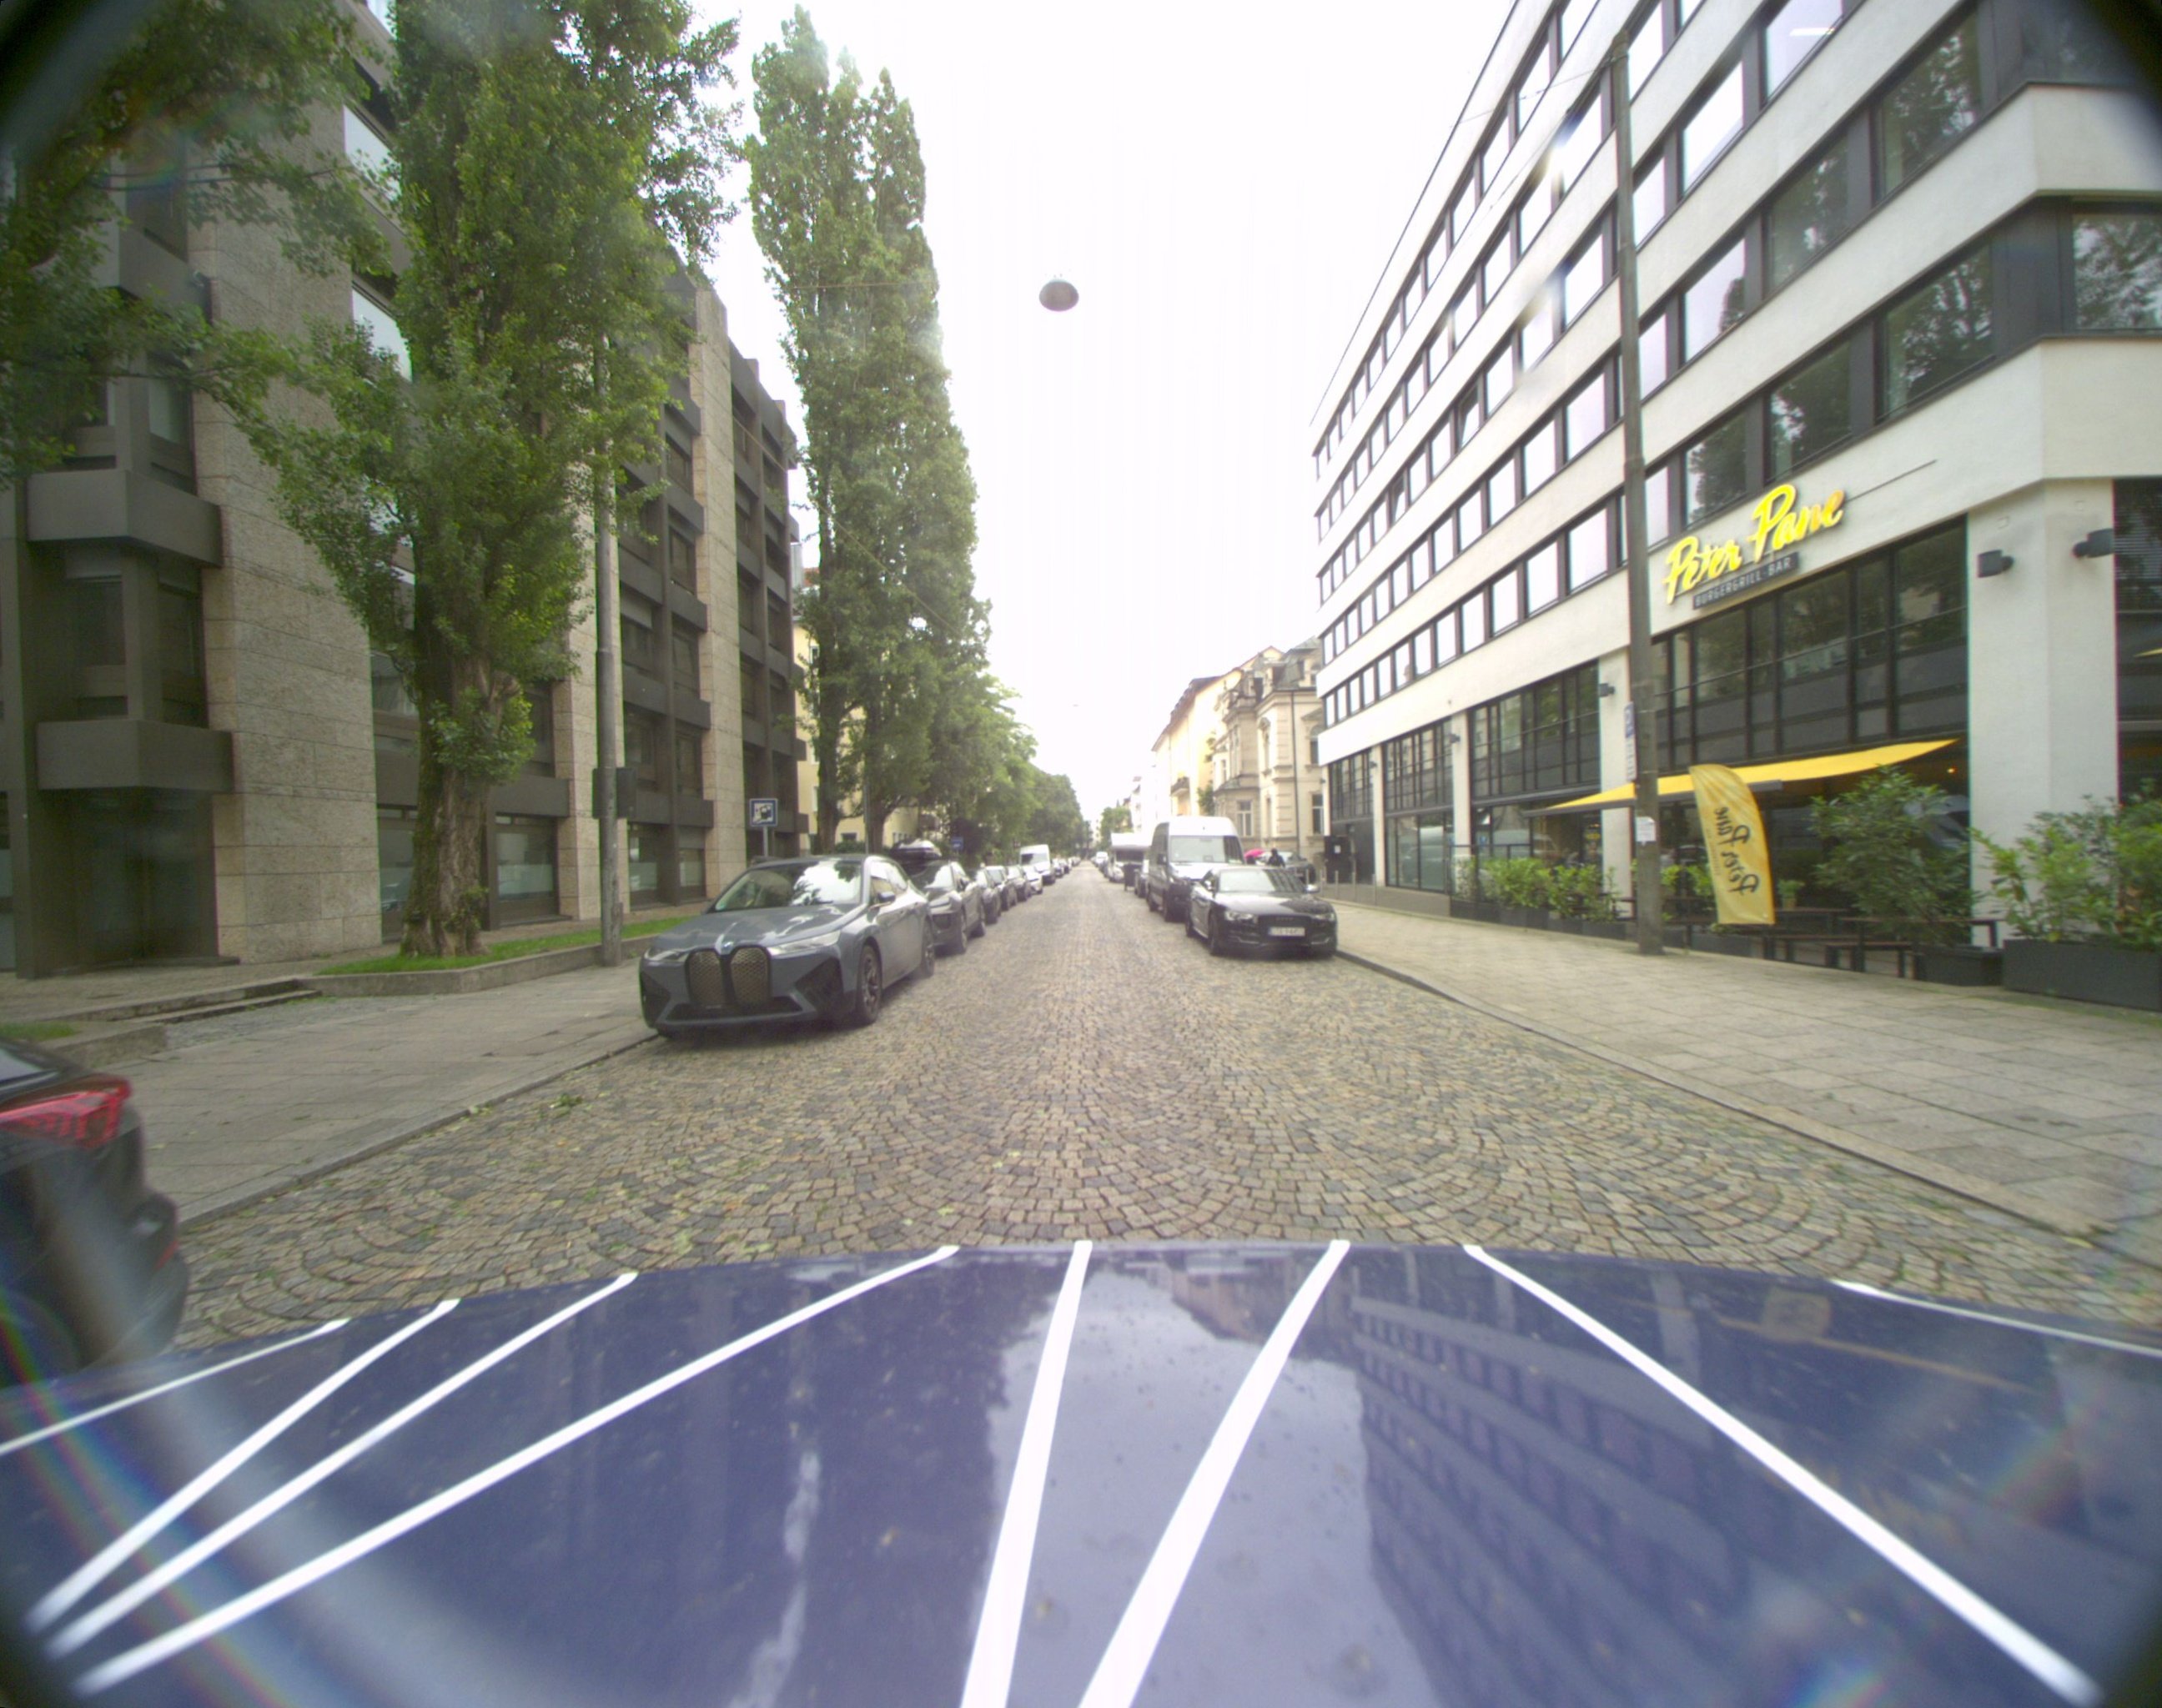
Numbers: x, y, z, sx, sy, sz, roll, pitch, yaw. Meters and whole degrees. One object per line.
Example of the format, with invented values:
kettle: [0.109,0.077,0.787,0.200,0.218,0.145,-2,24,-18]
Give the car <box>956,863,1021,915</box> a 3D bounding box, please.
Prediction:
car: [-2.987,1.112,25.230,1.604,1.422,3.562,-4,0,0]

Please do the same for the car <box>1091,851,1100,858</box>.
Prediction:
car: [3.530,0.181,188.640,1.999,1.680,3.873,-3,0,-2]

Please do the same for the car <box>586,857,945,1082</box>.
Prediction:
car: [-2.977,0.951,8.511,2.018,1.690,4.672,-3,0,0]

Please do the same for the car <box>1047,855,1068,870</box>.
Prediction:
car: [-2.337,0.852,75.237,1.999,1.379,3.873,-2,0,-2]

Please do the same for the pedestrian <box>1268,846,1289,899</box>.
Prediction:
pedestrian: [6.525,0.601,25.109,0.575,1.738,0.651,-2,1,11]

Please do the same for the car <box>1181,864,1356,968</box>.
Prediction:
car: [2.882,0.900,12.660,1.998,1.322,4.116,-2,0,2]

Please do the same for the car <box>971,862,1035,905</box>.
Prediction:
car: [-2.997,1.105,29.937,1.998,1.379,3.873,-3,0,0]

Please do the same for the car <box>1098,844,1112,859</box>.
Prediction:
car: [4.274,-0.390,133.616,2.088,2.418,5.610,-3,0,-1]

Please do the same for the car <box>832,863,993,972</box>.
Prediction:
car: [-2.913,1.023,14.171,1.999,1.573,4.341,-3,0,0]

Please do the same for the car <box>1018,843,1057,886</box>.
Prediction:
car: [-2.671,0.592,47.996,2.088,2.418,5.610,-3,0,-1]

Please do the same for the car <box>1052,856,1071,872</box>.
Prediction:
car: [-2.266,1.143,87.309,1.999,1.680,3.873,-3,0,-2]

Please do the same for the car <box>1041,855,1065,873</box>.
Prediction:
car: [-2.476,0.880,66.848,1.999,1.379,3.873,-3,0,-2]

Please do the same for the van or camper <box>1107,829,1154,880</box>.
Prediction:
van or camper: [3.152,0.041,49.923,2.464,3.029,7.316,-2,0,0]

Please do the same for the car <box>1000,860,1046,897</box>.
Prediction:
car: [-2.655,1.096,35.514,1.868,1.490,3.873,-3,0,-2]

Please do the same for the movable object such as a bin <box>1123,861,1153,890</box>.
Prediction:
movable object such as a bin: [2.687,1.003,35.819,1.255,1.290,1.174,-2,1,-3]

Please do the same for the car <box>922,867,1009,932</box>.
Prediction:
car: [-2.979,1.135,20.430,1.724,1.382,4.204,-4,1,-2]

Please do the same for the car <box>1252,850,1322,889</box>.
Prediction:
car: [8.750,0.616,32.634,1.912,1.523,4.169,-2,0,1]

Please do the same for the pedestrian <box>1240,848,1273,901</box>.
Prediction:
pedestrian: [5.843,0.669,25.359,0.928,1.696,0.800,-2,1,4]

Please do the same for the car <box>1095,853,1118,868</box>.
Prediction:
car: [2.598,0.657,78.143,1.999,1.401,3.872,-2,0,-2]

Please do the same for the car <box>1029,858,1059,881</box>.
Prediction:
car: [-2.636,1.090,54.428,1.999,1.379,3.873,-3,0,-2]

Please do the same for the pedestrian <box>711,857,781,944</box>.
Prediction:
pedestrian: [-6.863,0.939,15.594,0.867,1.704,0.913,-2,1,20]

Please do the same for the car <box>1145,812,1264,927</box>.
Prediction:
car: [2.979,0.329,19.717,2.065,2.476,5.848,-2,0,0]

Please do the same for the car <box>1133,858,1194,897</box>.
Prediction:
car: [3.234,0.880,30.540,1.998,1.380,4.000,-2,0,0]

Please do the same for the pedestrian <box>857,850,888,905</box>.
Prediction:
pedestrian: [-5.990,0.654,21.853,0.645,1.528,0.709,-2,1,-2]

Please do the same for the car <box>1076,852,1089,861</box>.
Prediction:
car: [0.250,0.395,122.163,1.999,1.401,3.872,0,1,-2]

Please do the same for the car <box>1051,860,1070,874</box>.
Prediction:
car: [-2.180,1.353,81.100,1.999,1.380,3.872,-1,1,-2]

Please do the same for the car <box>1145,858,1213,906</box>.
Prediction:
car: [3.254,0.879,25.910,1.998,1.422,4.001,-2,0,3]
